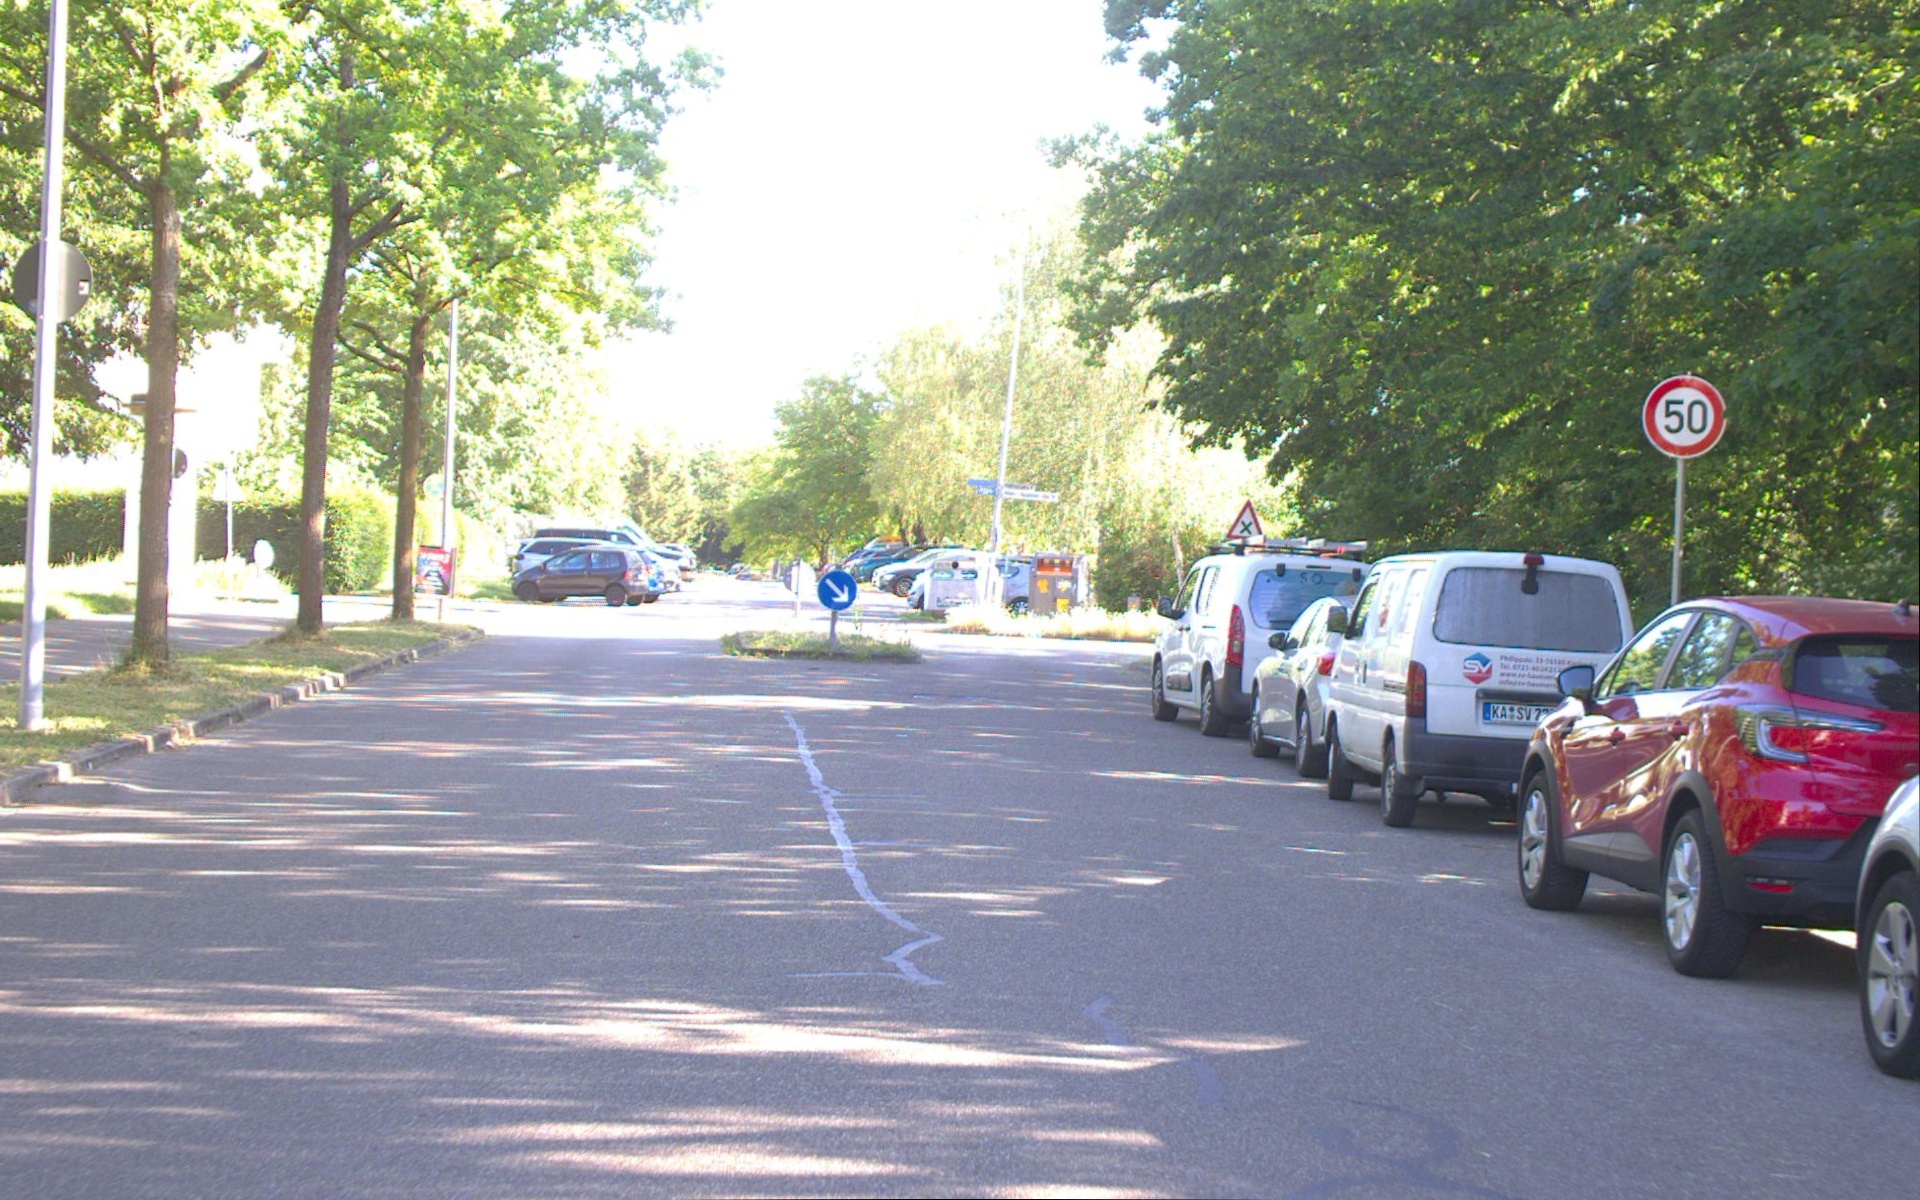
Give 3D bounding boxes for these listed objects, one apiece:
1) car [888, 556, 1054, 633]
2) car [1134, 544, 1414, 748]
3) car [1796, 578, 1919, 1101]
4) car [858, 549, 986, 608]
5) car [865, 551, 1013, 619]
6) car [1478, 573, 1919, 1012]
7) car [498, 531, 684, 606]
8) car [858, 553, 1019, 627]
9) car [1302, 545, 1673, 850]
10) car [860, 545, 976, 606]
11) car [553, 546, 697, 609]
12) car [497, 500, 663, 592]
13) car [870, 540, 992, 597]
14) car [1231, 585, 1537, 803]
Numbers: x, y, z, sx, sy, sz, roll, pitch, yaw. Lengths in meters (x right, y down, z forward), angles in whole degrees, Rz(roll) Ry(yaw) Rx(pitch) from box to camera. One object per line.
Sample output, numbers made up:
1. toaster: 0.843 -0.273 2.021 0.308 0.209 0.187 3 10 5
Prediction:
1. car: 0.281 -0.128 83.692 3.839 1.571 1.688 4 0 4
2. car: 3.049 0.393 34.361 1.790 1.779 4.558 4 0 -6
3. car: 3.977 0.823 9.892 1.775 1.616 4.065 4 0 -4
4. car: -1.196 -0.686 109.085 3.839 1.571 1.688 4 0 4
5. car: -0.557 -0.413 94.294 3.839 1.571 1.688 4 0 4
6. car: 3.696 0.763 15.288 1.775 1.616 4.065 4 0 -4
7. car: -9.400 -0.803 87.775 4.319 1.571 2.046 4 0 4
8. car: -0.524 -0.256 86.482 3.839 1.571 1.688 4 0 4
9. car: 3.439 0.580 23.041 1.623 1.767 3.669 4 0 -3
10. car: -1.432 -0.837 118.416 3.839 1.789 1.688 4 0 2
11. car: -10.117 -0.681 104.068 4.106 1.571 1.958 4 0 -1
12. car: -12.498 -1.783 112.906 5.198 2.612 2.294 4 0 -8
13. car: -0.928 -1.016 112.229 3.839 1.571 1.688 4 0 2
14. car: 3.391 0.710 28.226 1.691 1.507 4.207 4 0 -3
